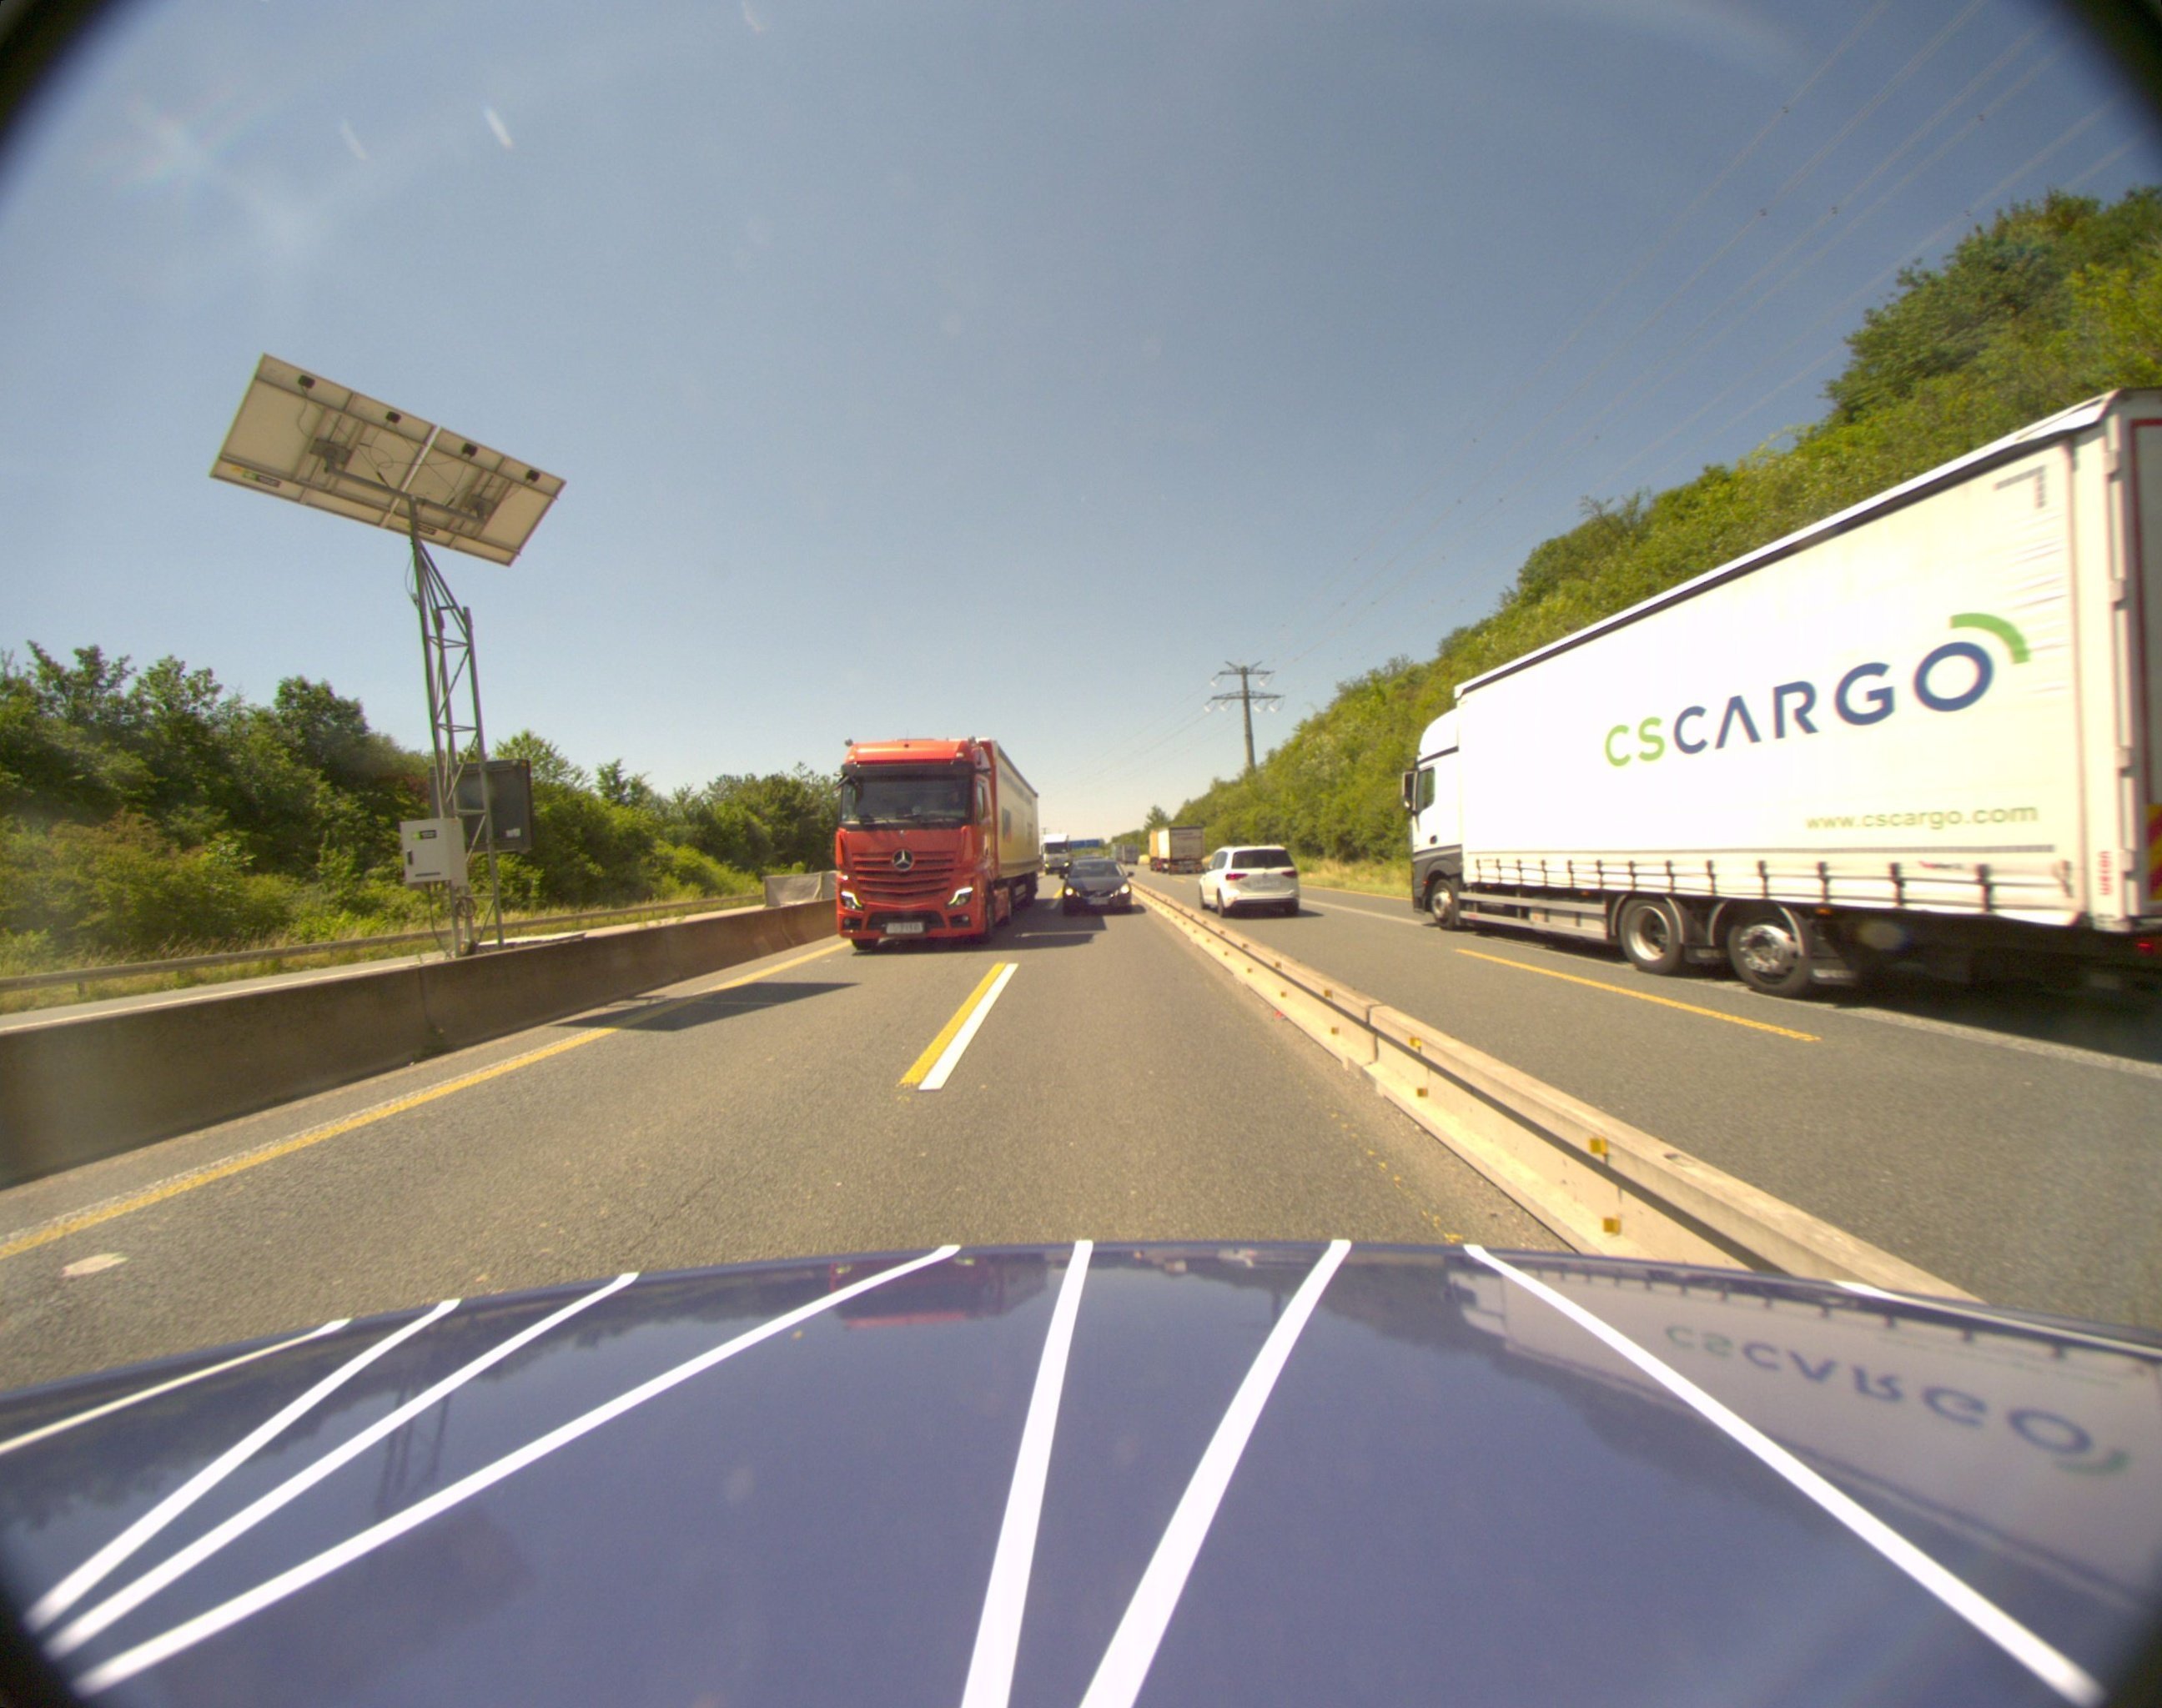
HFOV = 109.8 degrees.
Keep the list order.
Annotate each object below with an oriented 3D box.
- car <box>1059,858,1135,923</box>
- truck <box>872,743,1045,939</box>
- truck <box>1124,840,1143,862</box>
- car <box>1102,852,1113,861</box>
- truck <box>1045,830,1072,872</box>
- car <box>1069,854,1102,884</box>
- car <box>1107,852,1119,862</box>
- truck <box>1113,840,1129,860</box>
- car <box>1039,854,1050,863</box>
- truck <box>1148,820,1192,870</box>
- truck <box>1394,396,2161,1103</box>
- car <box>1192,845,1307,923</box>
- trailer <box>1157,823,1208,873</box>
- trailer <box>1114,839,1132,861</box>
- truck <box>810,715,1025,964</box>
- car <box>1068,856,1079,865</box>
[{"bbox_3d":[0.425,0.891,20.712,1.767,1.411,4.699,-3,1,1],"label":"car"},{"bbox_3d":[-2.877,-0.326,22.513,2.689,3.987,13.217,-3,1,1],"label":"truck"},{"bbox_3d":[8.377,-0.470,121.460,2.412,3.311,7.498,-3,1,0],"label":"truck"},{"bbox_3d":[5.247,0.492,151.492,1.765,1.481,4.400,-3,1,-1],"label":"car"},{"bbox_3d":[-2.253,-0.281,80.730,2.481,4.030,13.109,-3,0,0],"label":"truck"},{"bbox_3d":[0.279,0.844,44.110,1.767,1.523,4.699,-3,1,1],"label":"car"},{"bbox_3d":[5.269,0.442,126.245,1.846,1.481,4.510,-1,1,0],"label":"car"},{"bbox_3d":[8.518,-0.801,163.224,2.902,4.094,6.020,-2,0,0],"label":"truck"},{"bbox_3d":[-6.446,0.767,133.141,1.767,1.523,4.697,-3,1,-2],"label":"car"},{"bbox_3d":[7.769,-0.756,67.238,2.656,3.969,9.650,-4,0,1],"label":"truck"},{"bbox_3d":[7.243,-0.652,9.439,2.416,3.969,10.352,-3,0,1],"label":"truck"},{"bbox_3d":[3.973,0.643,18.644,1.829,1.621,4.150,-3,1,0],"label":"car"},{"bbox_3d":[7.592,-0.428,57.949,2.657,3.317,8.919,-4,0,1],"label":"trailer"},{"bbox_3d":[8.507,-0.765,155.764,2.899,4.101,13.243,-3,0,0],"label":"trailer"},{"bbox_3d":[-2.951,-0.264,15.900,2.689,3.987,6.725,-3,1,1],"label":"truck"},{"bbox_3d":[-1.286,1.160,133.355,1.767,1.523,4.698,-3,1,-1],"label":"car"}]
